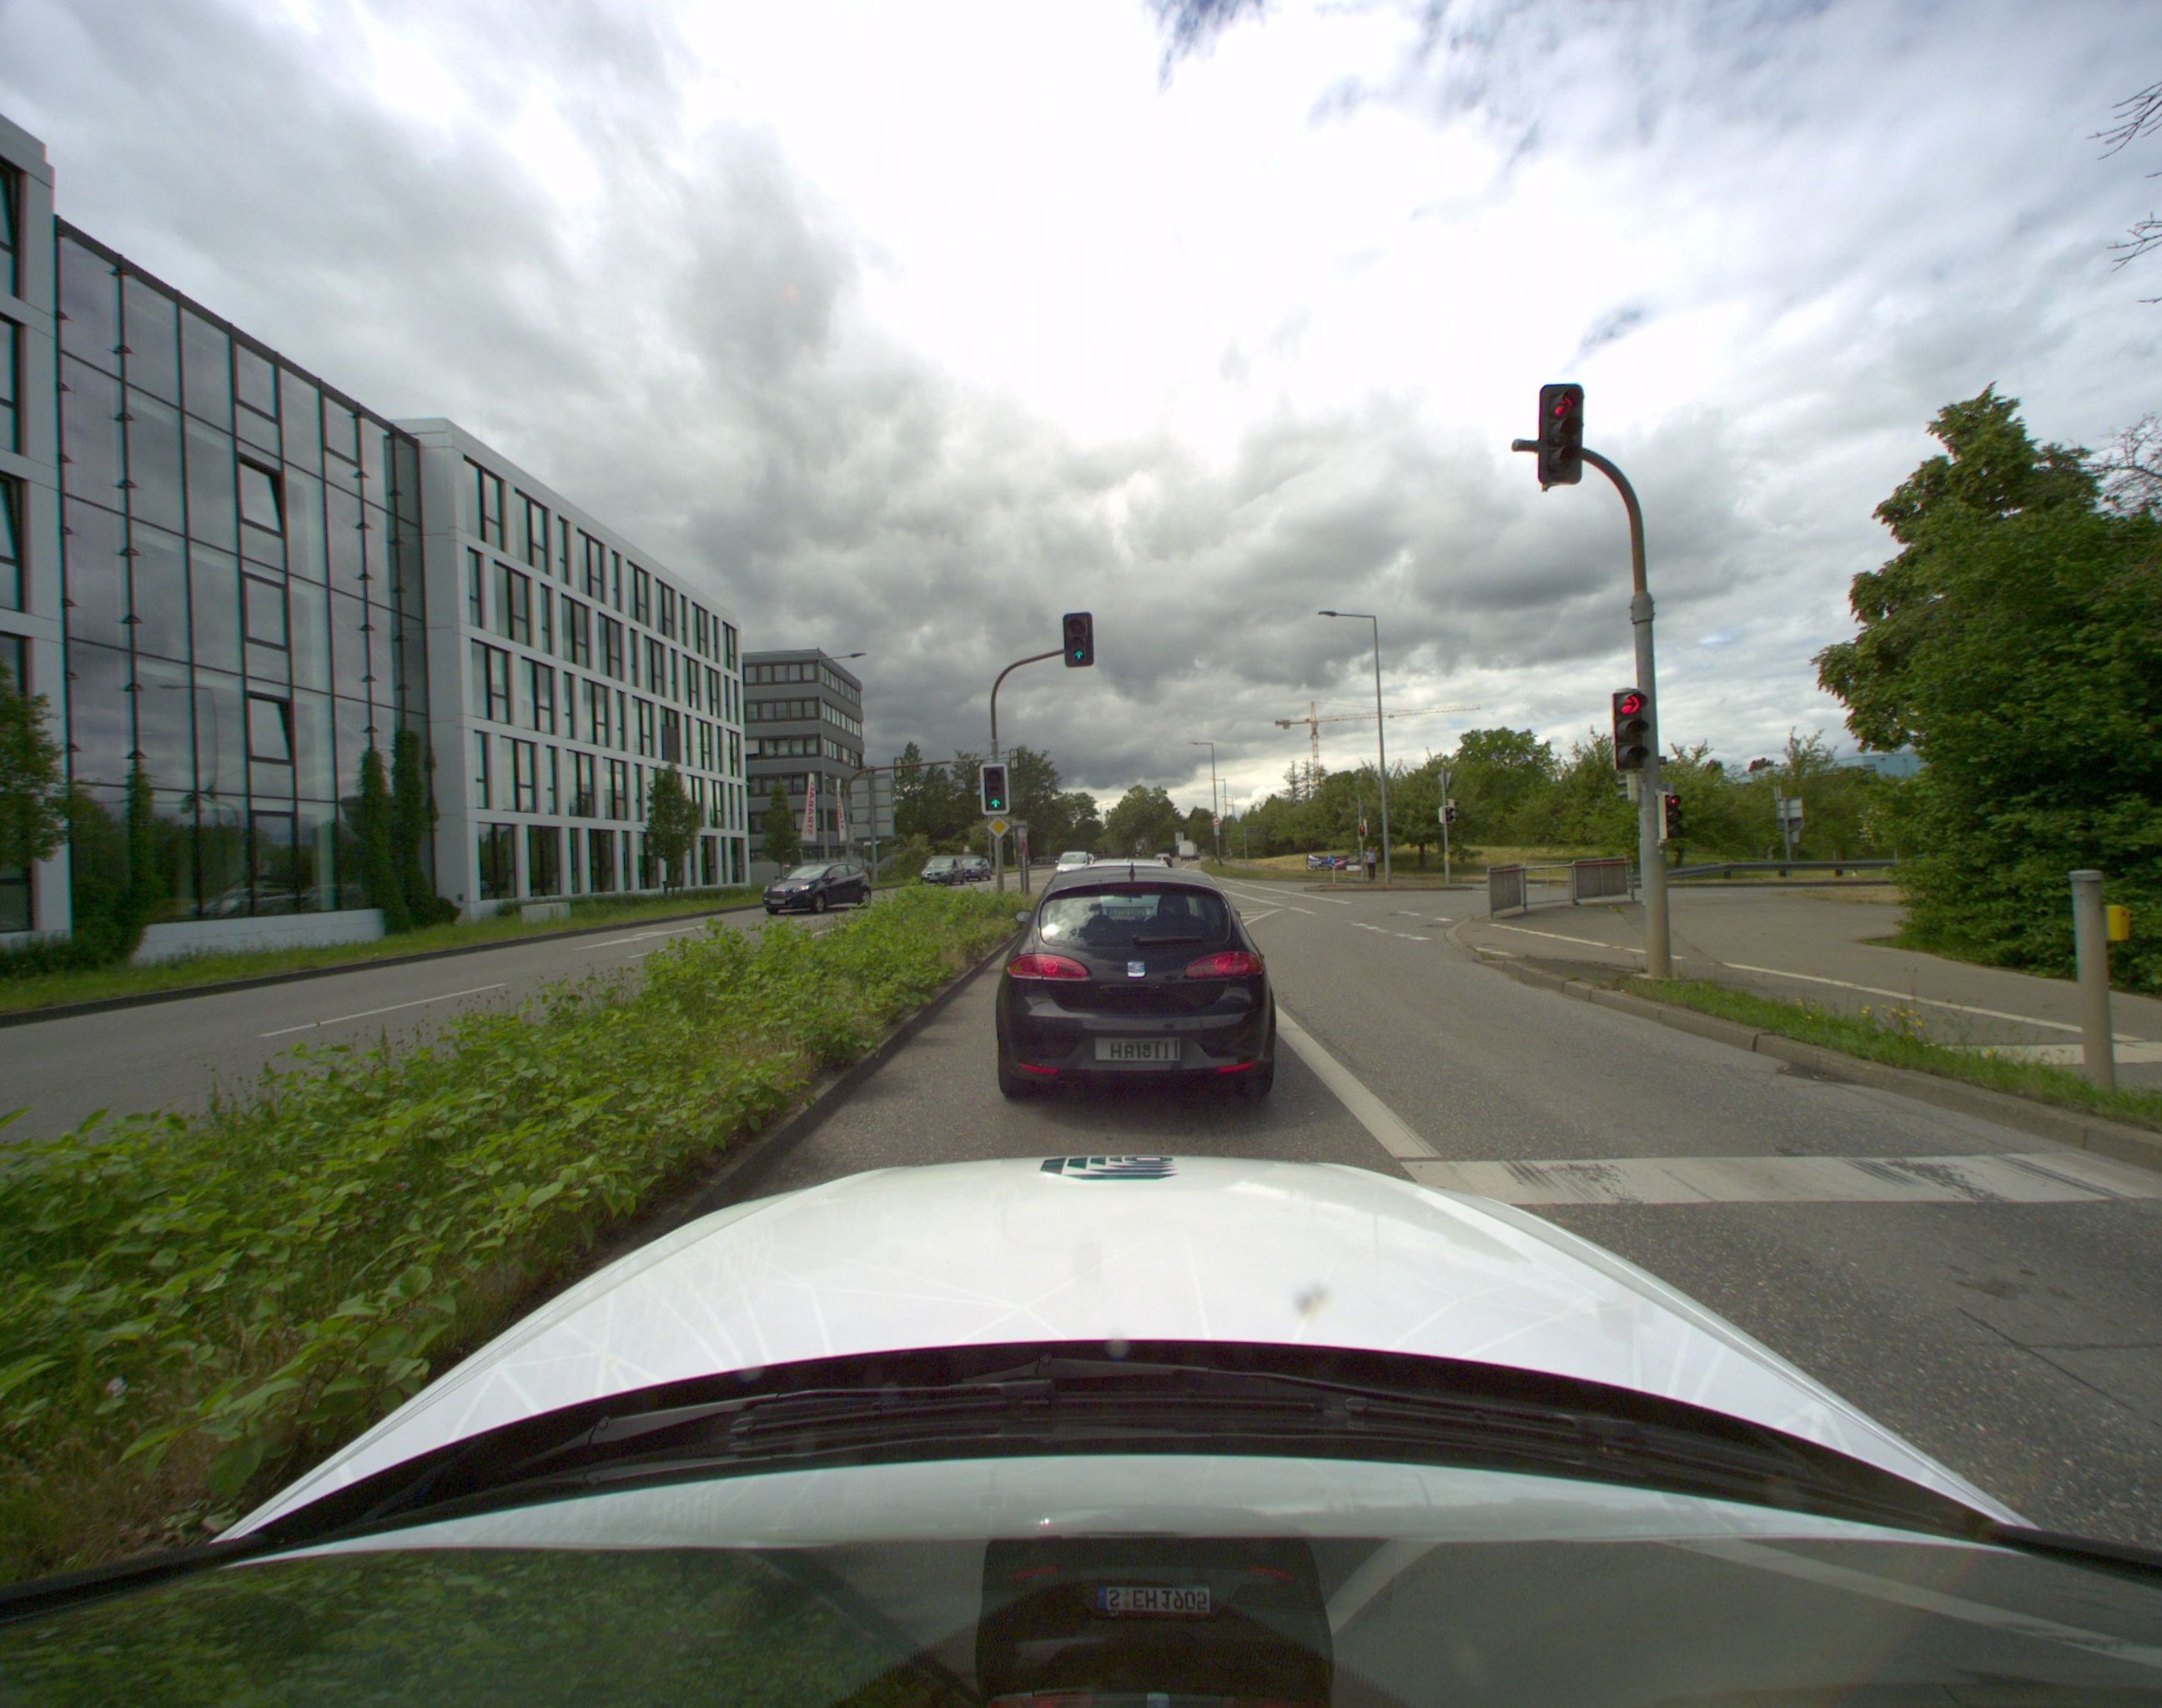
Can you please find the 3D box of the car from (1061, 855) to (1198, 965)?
[{"bbox_3d":[0.745,0.765,12.805,1.827,1.467,3.754,0,-1,3],"label":"car"}]

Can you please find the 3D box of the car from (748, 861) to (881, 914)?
[{"bbox_3d":[-7.854,0.941,24.373,1.740,1.446,3.911,-1,-1,19],"label":"car"}]

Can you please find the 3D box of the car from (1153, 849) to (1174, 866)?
[{"bbox_3d":[8.422,0.339,83.241,1.984,1.565,4.478,-2,0,5],"label":"car"}]

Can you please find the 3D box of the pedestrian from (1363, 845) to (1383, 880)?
[{"bbox_3d":[15.079,0.440,42.127,0.714,1.793,1.045,0,-1,5],"label":"pedestrian"}]

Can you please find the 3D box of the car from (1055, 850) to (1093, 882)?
[{"bbox_3d":[-0.365,0.633,46.187,1.812,1.686,4.650,0,0,4],"label":"car"}]

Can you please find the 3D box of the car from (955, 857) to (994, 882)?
[{"bbox_3d":[-6.554,0.929,50.393,1.546,1.419,3.902,-1,0,5],"label":"car"}]

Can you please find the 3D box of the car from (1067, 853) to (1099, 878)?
[{"bbox_3d":[0.176,0.690,52.184,1.652,1.518,4.091,-1,0,6],"label":"car"}]

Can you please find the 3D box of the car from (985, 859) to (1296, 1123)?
[{"bbox_3d":[0.388,0.775,6.242,1.704,1.417,3.461,-1,0,2],"label":"car"}]

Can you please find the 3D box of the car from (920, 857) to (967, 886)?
[{"bbox_3d":[-7.290,0.929,43.550,1.598,1.432,3.757,-1,0,4],"label":"car"}]

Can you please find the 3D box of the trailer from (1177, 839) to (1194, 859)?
[{"bbox_3d":[16.222,-0.725,125.881,2.477,3.073,5.600,-1,-1,9],"label":"trailer"}]
